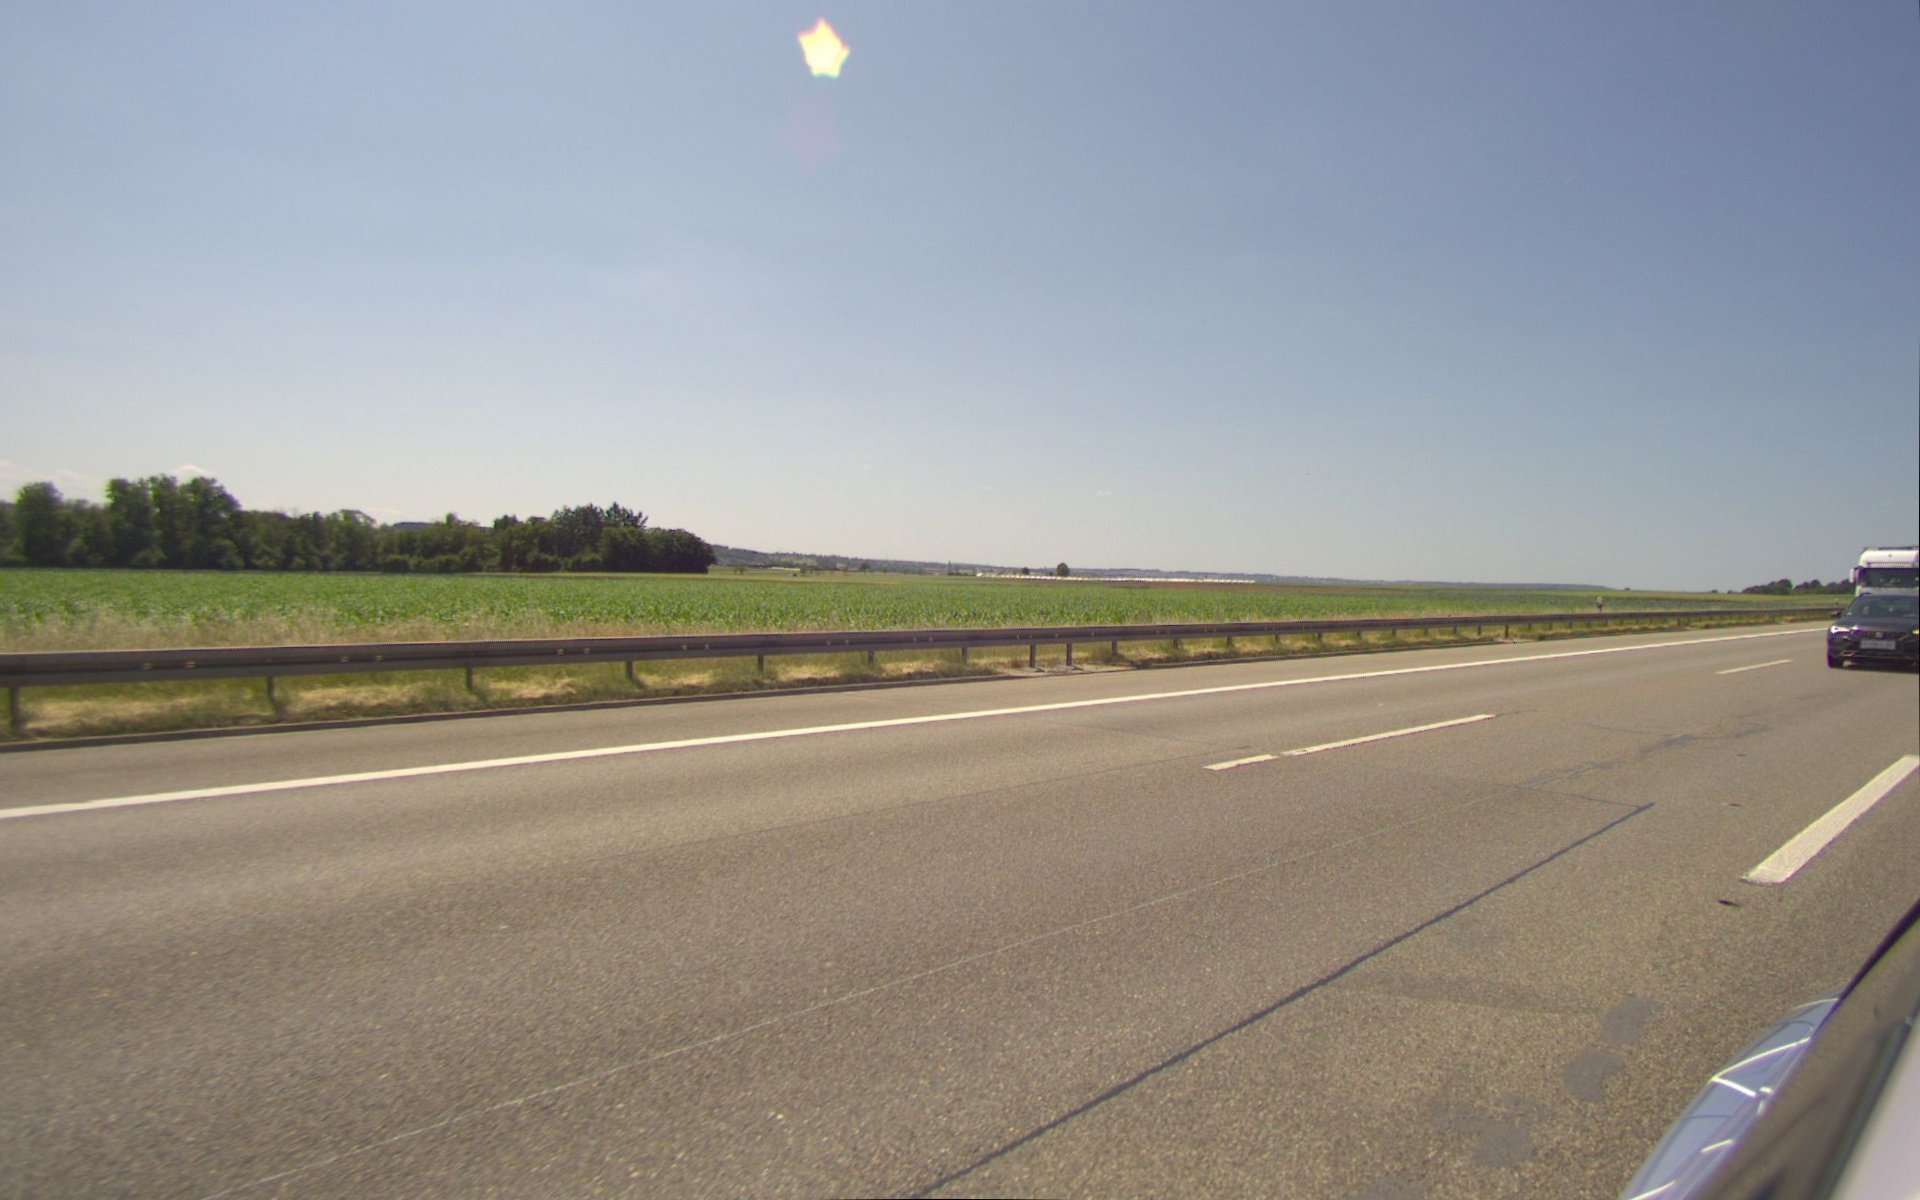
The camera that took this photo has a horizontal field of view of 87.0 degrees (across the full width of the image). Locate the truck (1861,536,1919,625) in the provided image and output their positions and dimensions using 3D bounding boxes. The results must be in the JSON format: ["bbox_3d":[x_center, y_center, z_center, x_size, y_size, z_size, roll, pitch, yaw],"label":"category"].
[{"bbox_3d":[46.689,-0.945,49.748,6.761,4.143,2.866,-1,0,-42],"label":"truck"}]

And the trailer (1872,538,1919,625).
[{"bbox_3d":[52.071,-0.984,54.556,13.064,4.273,2.872,-1,0,-41],"label":"trailer"}]

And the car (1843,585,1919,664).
[{"bbox_3d":[20.362,0.463,21.735,3.760,1.581,1.798,-1,0,-44],"label":"car"}]
